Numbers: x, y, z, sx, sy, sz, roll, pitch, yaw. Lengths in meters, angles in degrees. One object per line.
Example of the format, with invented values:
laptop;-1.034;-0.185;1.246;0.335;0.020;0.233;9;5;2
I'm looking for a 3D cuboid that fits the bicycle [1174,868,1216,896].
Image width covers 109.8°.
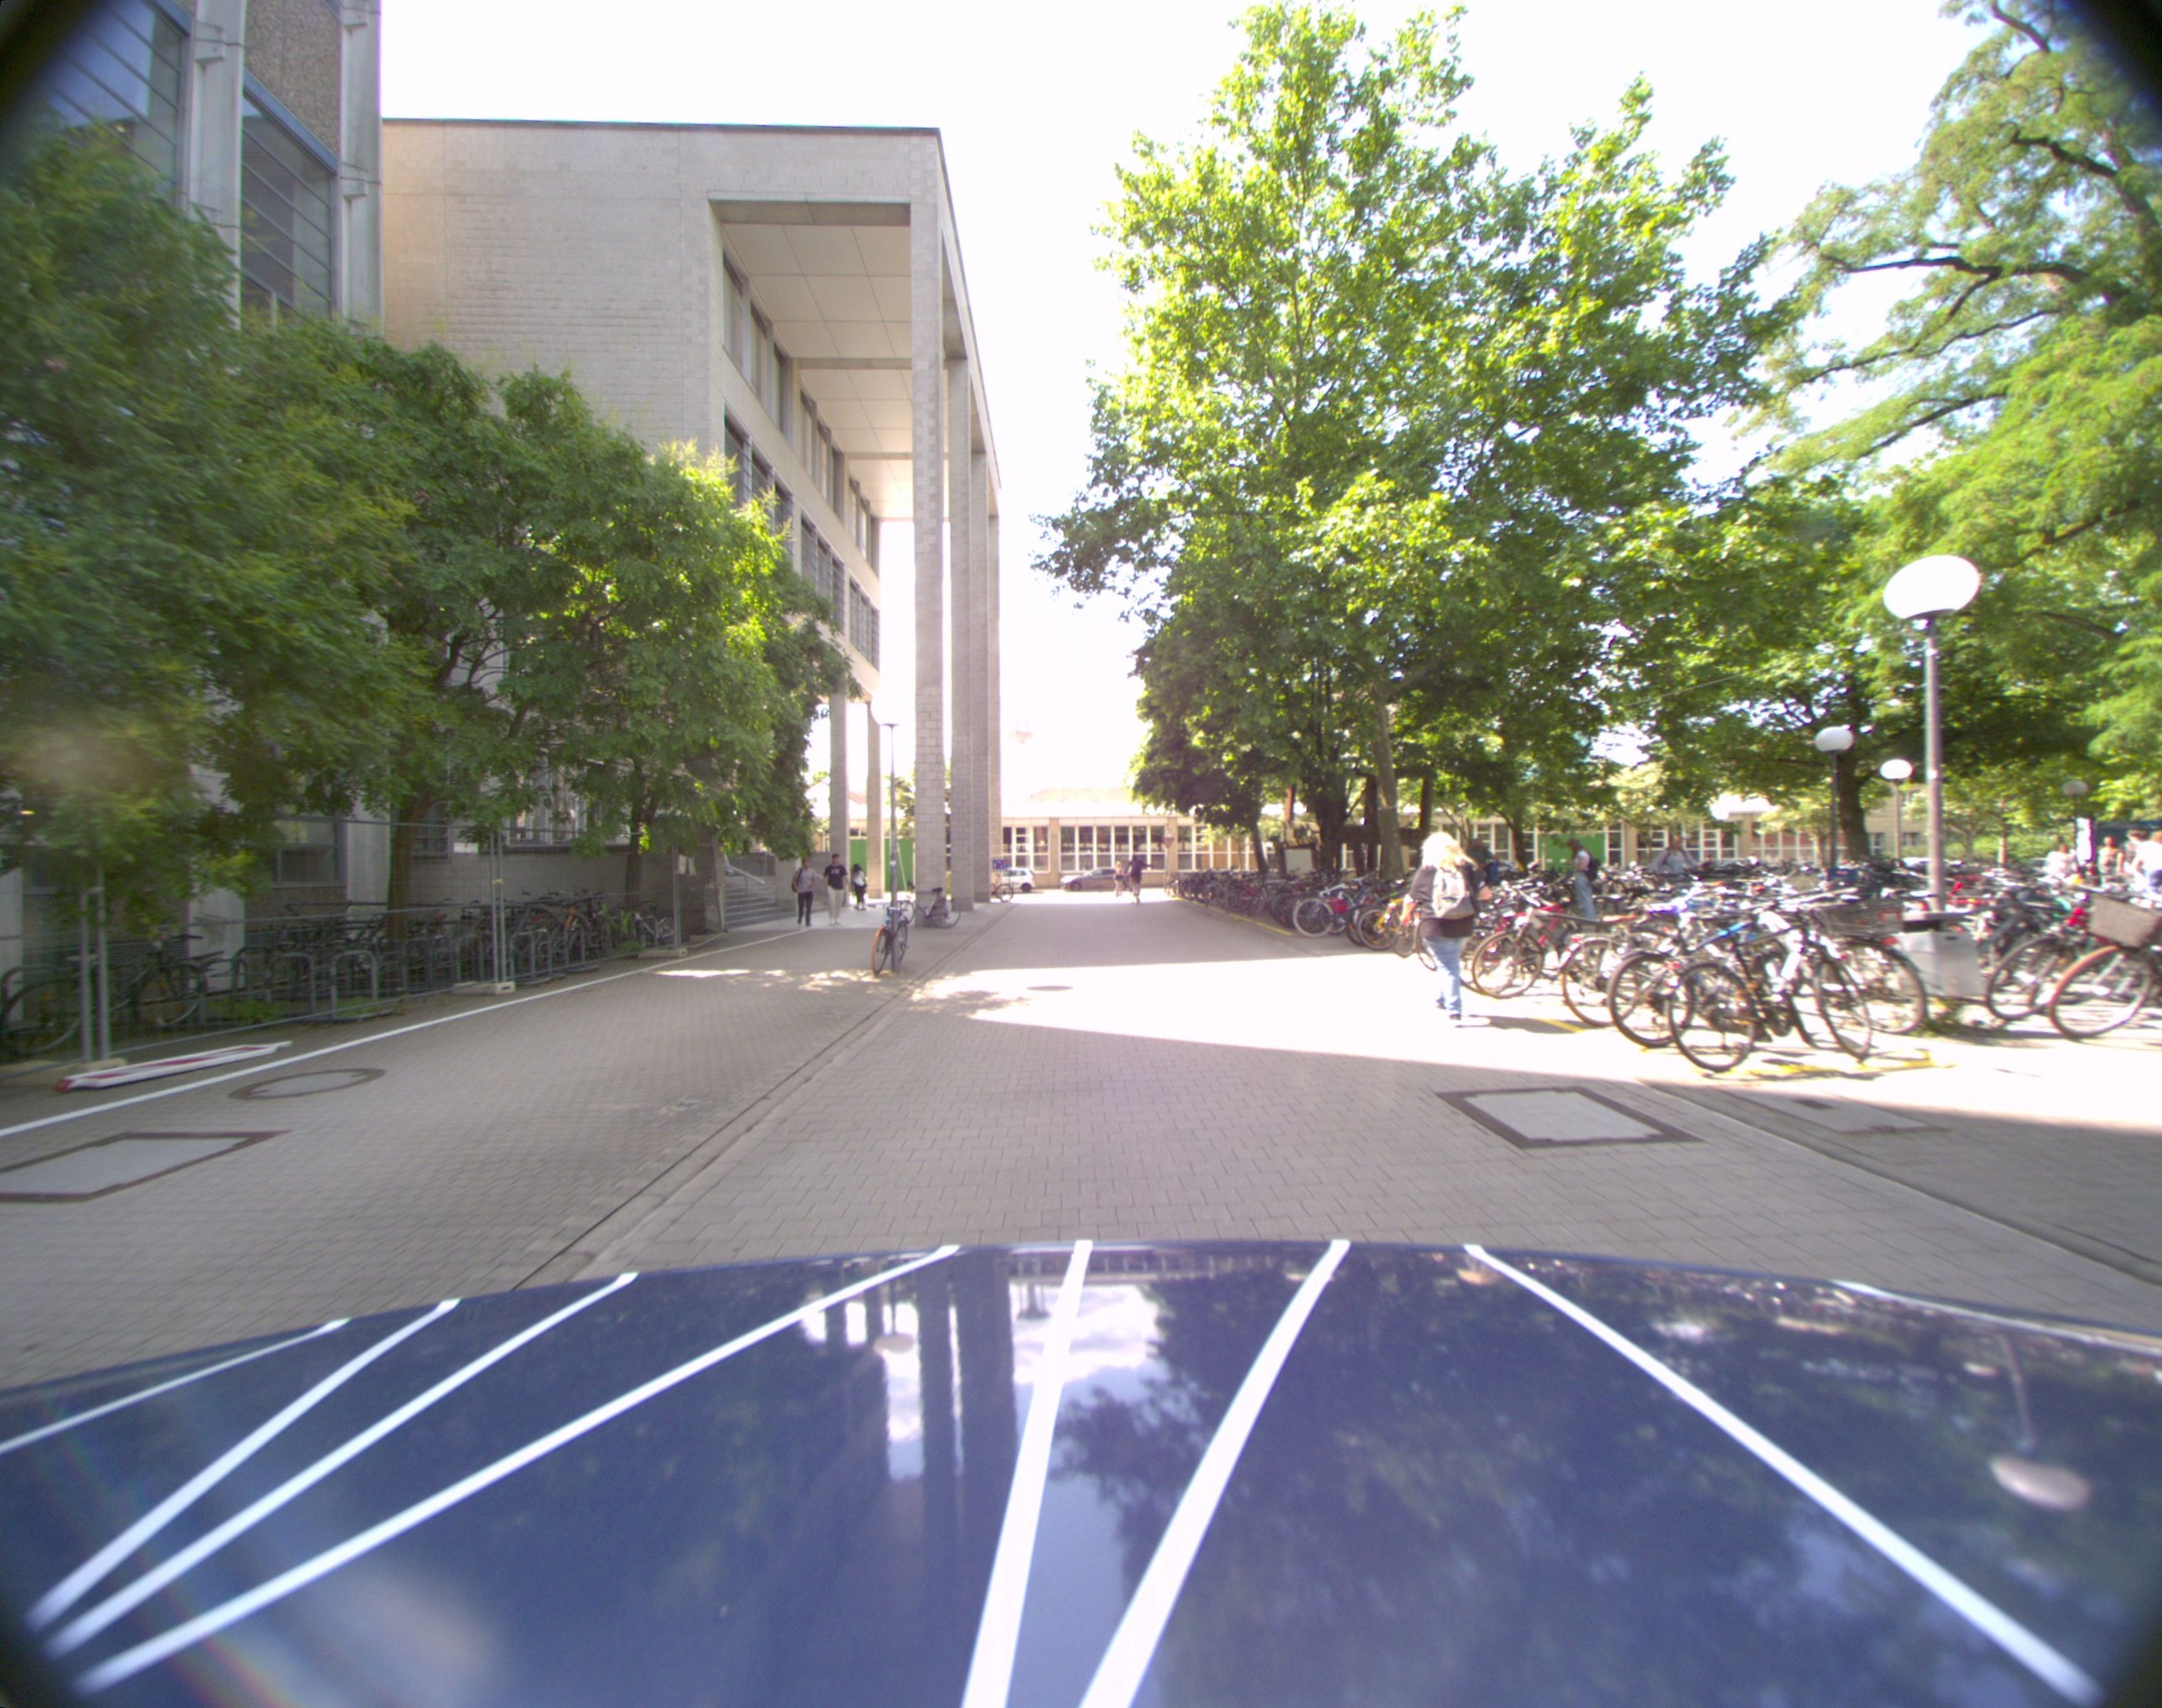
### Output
bicycle;4.573;1.119;30.591;1.627;1.101;0.497;-2;-2;11

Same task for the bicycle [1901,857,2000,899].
bicycle;23.482;0.633;20.544;0.475;1.077;1.695;-2;0;-34

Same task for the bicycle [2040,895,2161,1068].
bicycle;7.573;0.812;4.940;1.721;1.077;0.474;-2;0;14

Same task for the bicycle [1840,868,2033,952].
bicycle;11.756;0.754;10.514;1.695;1.077;0.475;-2;0;34

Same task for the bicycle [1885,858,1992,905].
bicycle;20.895;0.664;18.550;0.475;1.077;1.695;-2;0;-40

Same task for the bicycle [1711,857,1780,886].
bicycle;26.537;0.688;30.395;0.503;1.101;2.026;-2;0;-28

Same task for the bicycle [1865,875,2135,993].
bicycle;9.281;0.768;7.781;1.695;1.077;0.475;-2;0;41

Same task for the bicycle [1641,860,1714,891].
bicycle;21.801;0.775;27.824;0.503;1.101;2.025;-2;0;-34

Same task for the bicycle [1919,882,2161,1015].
bicycle;8.708;0.794;6.705;1.695;1.077;0.475;-2;0;41

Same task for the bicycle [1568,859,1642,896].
bicycle;16.775;0.740;24.361;0.503;1.101;1.902;-2;0;-31

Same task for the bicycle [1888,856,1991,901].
bicycle;21.649;0.614;19.181;0.475;1.077;1.695;-2;0;-40

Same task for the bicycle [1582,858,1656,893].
bicycle;17.379;0.687;24.600;0.503;1.101;1.902;-2;0;-31

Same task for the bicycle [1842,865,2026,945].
bicycle;12.293;0.719;11.020;1.695;1.077;0.475;-2;0;34

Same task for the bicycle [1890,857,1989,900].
bicycle;22.642;0.640;20.064;0.475;1.077;1.695;-2;0;-40

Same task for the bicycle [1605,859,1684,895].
bicycle;18.101;0.719;24.453;0.503;1.101;2.001;-2;0;-31

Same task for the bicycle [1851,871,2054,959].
bicycle;11.493;0.785;10.101;1.695;1.077;0.475;-2;0;34

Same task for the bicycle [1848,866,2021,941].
bicycle;13.080;0.751;11.716;1.695;1.077;0.475;-2;0;34

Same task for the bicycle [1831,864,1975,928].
bicycle;14.624;0.731;13.581;1.695;1.077;0.475;-2;0;42

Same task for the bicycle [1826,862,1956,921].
bicycle;15.768;0.708;14.835;0.475;1.077;1.695;-2;0;-40

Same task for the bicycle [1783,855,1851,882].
bicycle;31.135;0.591;32.169;0.503;1.101;2.027;-2;0;-20

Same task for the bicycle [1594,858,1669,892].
bicycle;18.605;0.713;25.734;0.503;1.101;2.001;-2;0;-31

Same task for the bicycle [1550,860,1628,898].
bicycle;15.438;0.753;23.157;0.503;1.101;1.902;-2;0;-34

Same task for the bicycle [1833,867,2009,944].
bicycle;12.556;0.755;11.424;1.695;1.077;0.475;-2;0;34

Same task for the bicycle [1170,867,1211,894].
bicycle;4.634;1.112;32.267;1.629;1.101;0.497;-1;-2;-1

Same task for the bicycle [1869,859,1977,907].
bicycle;19.988;0.669;18.067;0.475;1.077;1.695;-2;0;-40

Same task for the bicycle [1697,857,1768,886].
bicycle;25.322;0.674;29.570;0.503;1.101;2.026;-2;0;-28

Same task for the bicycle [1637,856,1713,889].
bicycle;20.917;0.661;26.789;0.503;1.101;2.025;-2;0;-34

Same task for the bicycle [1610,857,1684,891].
bicycle;19.716;0.689;26.517;0.503;1.101;2.001;-2;0;-31

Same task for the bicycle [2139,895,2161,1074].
bicycle;7.501;0.789;4.416;1.697;1.104;0.474;-2;0;12

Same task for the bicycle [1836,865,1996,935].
bicycle;13.714;0.747;12.537;1.695;1.077;0.475;-2;0;34

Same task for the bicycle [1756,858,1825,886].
bicycle;29.456;0.741;31.591;0.503;1.101;2.026;-2;0;-28

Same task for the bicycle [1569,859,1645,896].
bicycle;16.458;0.724;23.833;0.503;1.101;1.902;-2;0;-31

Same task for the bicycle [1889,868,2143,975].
bicycle;10.253;0.712;8.424;1.695;1.077;0.475;-2;0;37

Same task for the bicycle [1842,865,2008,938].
bicycle;13.401;0.744;12.134;1.695;1.077;0.475;-2;0;34

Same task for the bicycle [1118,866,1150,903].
bicycle;1.812;1.022;26.217;0.773;1.144;2.107;-2;1;-3

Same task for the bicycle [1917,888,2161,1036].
bicycle;7.837;0.825;5.954;1.696;1.077;0.475;-2;0;19

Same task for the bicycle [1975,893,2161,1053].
bicycle;7.728;0.837;5.446;1.696;1.077;0.475;-2;0;19

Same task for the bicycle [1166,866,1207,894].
bicycle;4.346;1.075;31.368;1.629;1.101;0.497;-1;-2;-1

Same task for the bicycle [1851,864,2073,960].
bicycle;10.723;0.690;9.332;1.695;1.077;0.475;-2;0;34

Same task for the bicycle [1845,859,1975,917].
bicycle;16.333;0.660;15.010;0.475;1.077;1.695;-2;0;-40

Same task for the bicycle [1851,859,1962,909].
bicycle;18.912;0.673;17.434;0.475;1.077;1.695;-2;0;-40

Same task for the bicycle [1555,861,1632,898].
bicycle;15.847;0.778;23.525;0.503;1.101;1.902;-2;0;-34

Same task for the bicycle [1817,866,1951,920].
bicycle;15.346;0.723;14.561;0.453;0.956;1.735;-2;0;-40

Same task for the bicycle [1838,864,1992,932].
bicycle;14.156;0.740;12.962;1.695;1.077;0.475;-2;0;34

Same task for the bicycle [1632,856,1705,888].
bicycle;21.152;0.643;27.393;0.503;1.101;2.025;-2;0;-34
